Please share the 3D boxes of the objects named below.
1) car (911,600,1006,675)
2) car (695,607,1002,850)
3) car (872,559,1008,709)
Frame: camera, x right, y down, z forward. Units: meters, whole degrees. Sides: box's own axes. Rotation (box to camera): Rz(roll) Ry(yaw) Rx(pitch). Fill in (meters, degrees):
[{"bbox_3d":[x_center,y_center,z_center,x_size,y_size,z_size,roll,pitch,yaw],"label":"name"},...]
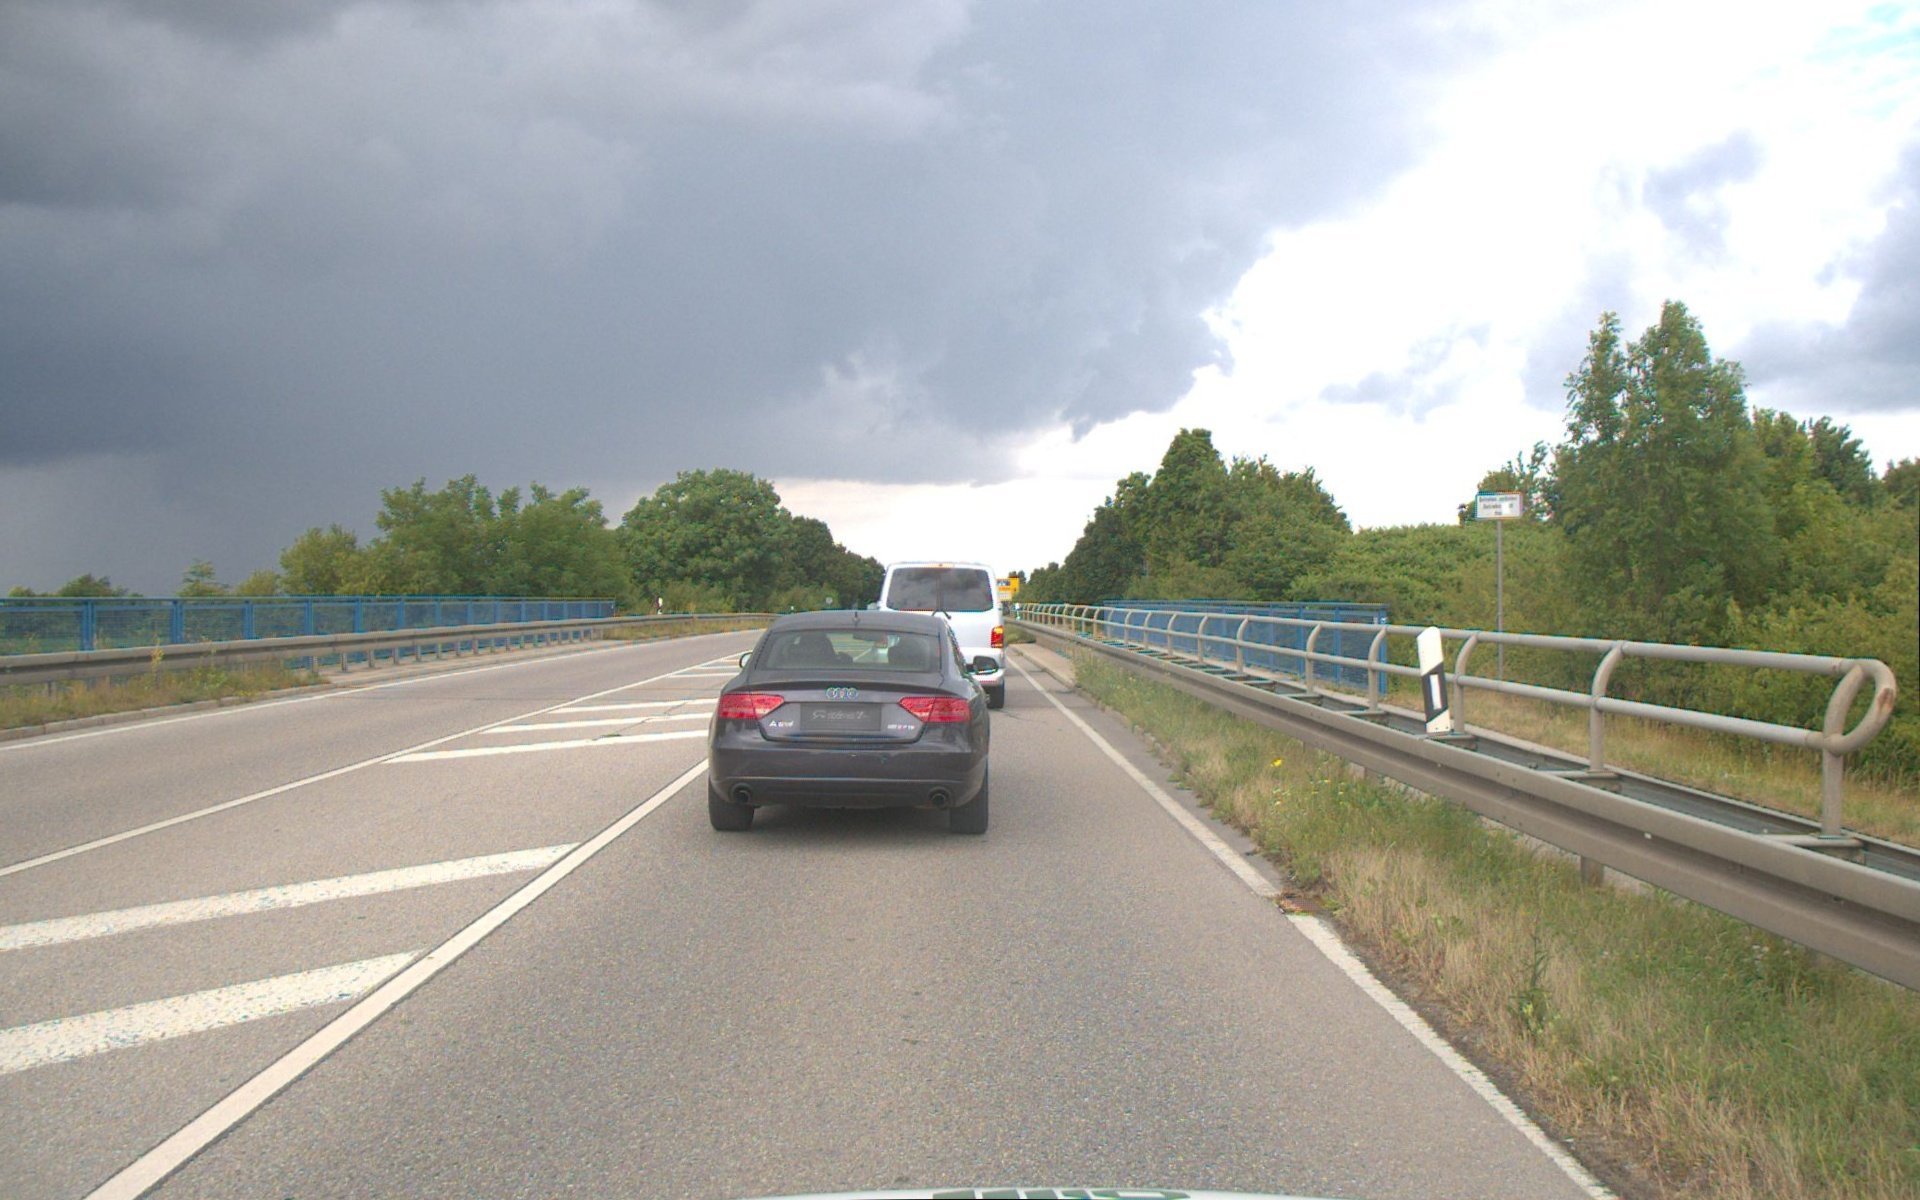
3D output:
[{"bbox_3d":[-0.009,0.714,33.308,1.784,1.405,4.072,0,0,0],"label":"car"},{"bbox_3d":[-0.633,0.759,11.665,1.784,1.405,4.072,0,0,0],"label":"car"},{"bbox_3d":[-0.294,0.451,23.813,1.791,1.969,3.999,0,0,-1],"label":"car"}]
